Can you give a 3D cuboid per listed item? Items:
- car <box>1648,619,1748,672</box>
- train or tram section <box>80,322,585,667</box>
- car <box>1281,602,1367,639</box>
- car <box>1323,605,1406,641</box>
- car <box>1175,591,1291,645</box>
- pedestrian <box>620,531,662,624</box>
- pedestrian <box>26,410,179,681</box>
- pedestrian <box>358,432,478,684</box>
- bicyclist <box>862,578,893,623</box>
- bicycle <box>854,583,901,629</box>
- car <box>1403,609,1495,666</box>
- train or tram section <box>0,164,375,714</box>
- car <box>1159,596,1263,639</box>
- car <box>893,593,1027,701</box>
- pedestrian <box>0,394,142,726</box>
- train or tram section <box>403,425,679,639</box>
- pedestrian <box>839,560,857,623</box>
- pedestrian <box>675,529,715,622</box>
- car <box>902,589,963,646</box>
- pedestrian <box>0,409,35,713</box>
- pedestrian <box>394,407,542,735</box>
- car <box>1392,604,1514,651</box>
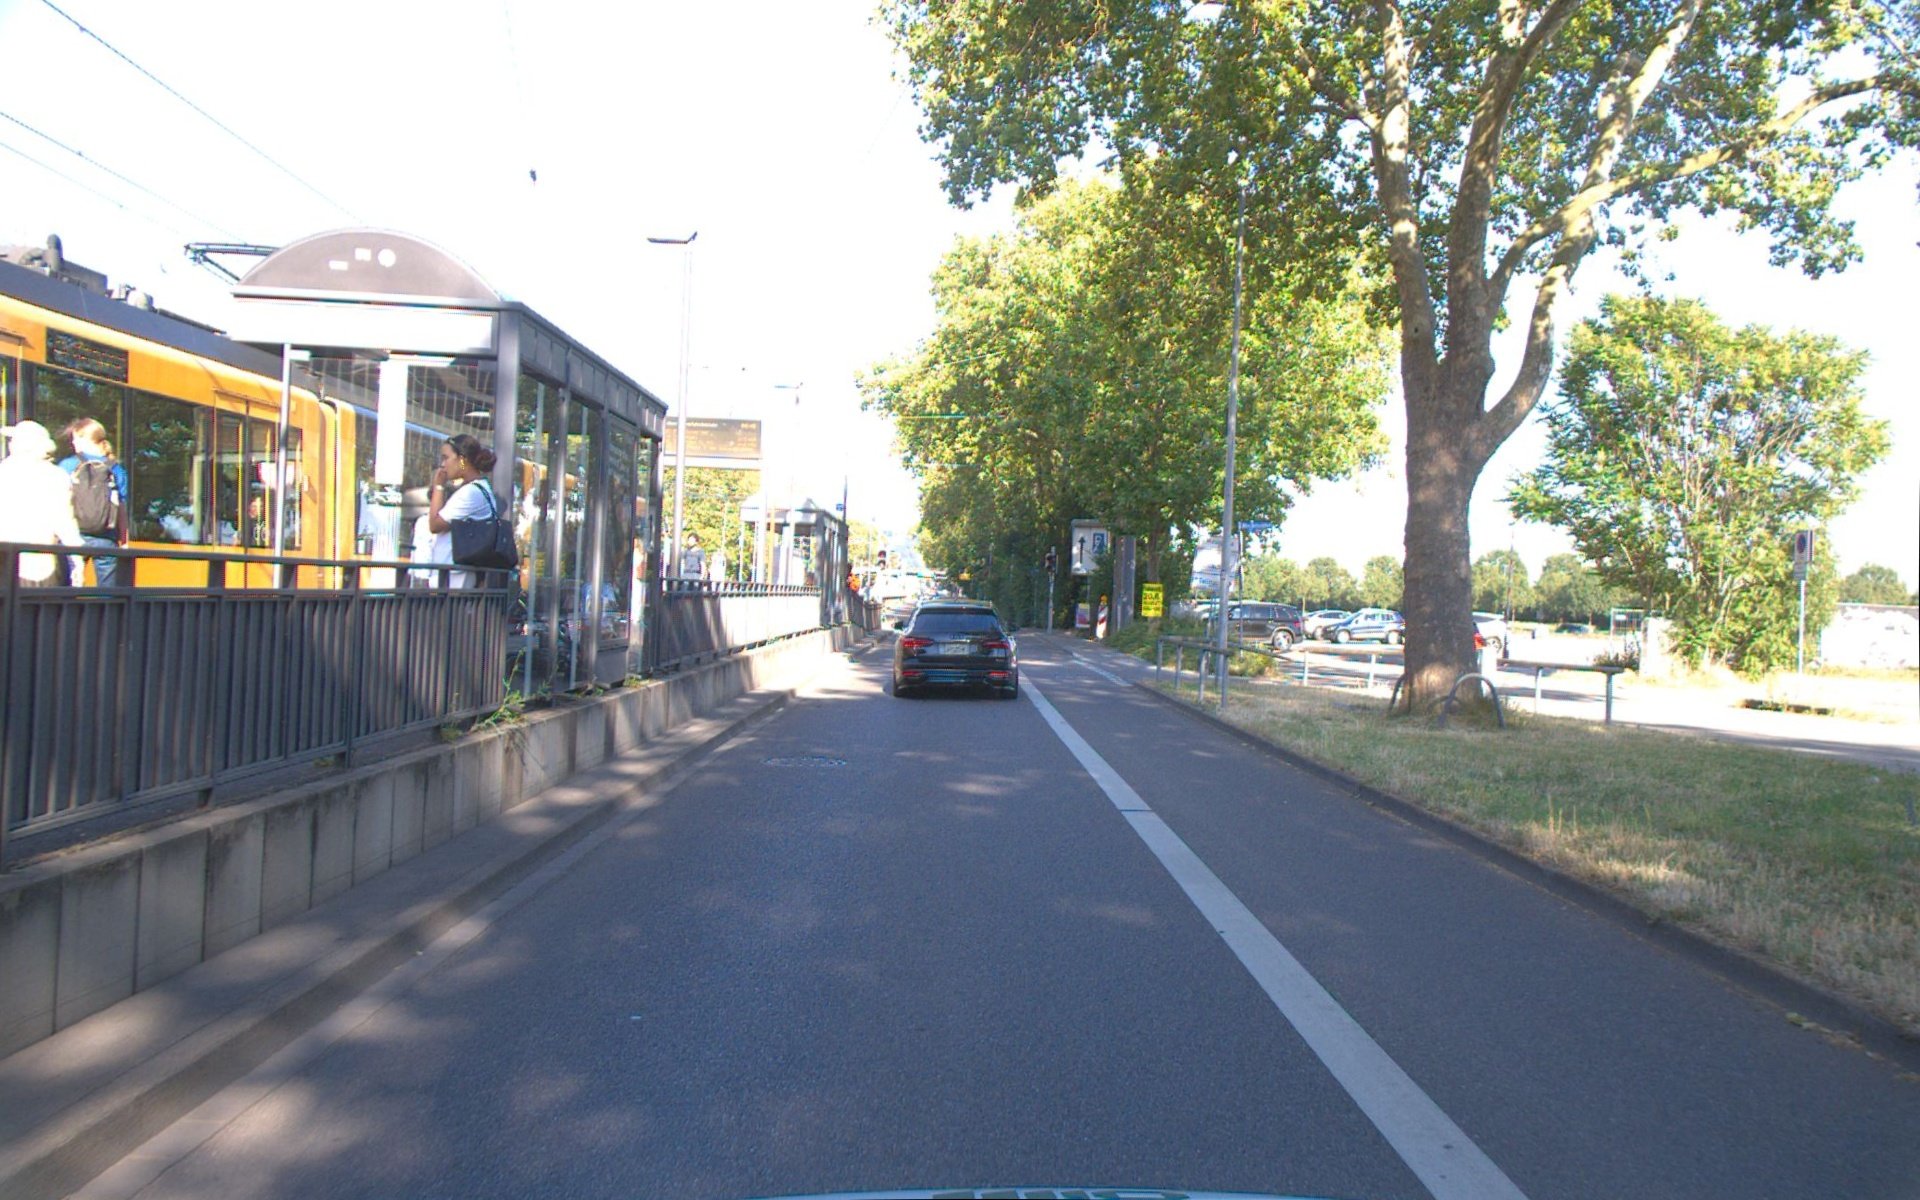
[{"bbox_3d":[25.504,1.552,57.304,1.534,1.637,3.999,3,0,-1],"label":"car"},{"bbox_3d":[-8.713,-1.259,25.357,3.242,3.896,11.841,3,0,-1],"label":"train or tram section"},{"bbox_3d":[20.234,1.120,92.016,4.267,1.847,1.998,3,0,-5],"label":"car"},{"bbox_3d":[20.494,1.163,83.804,3.735,1.637,1.670,3,0,-1],"label":"car"},{"bbox_3d":[9.995,0.644,60.789,3.906,1.795,1.833,3,0,0],"label":"car"},{"bbox_3d":[-6.194,-0.434,32.129,0.644,1.743,0.613,3,0,-2],"label":"pedestrian"},{"bbox_3d":[-6.022,-0.373,11.655,0.599,1.815,0.775,3,0,-1],"label":"pedestrian"},{"bbox_3d":[-4.061,-0.306,12.434,0.597,1.815,0.681,3,0,-1],"label":"pedestrian"},{"bbox_3d":[-3.301,0.023,65.879,0.758,1.746,0.903,3,0,44],"label":"bicyclist"},{"bbox_3d":[-3.286,0.257,65.911,0.581,1.746,1.959,2,0,44],"label":"bicycle"},{"bbox_3d":[14.663,1.098,49.765,1.581,1.542,3.802,3,0,-1],"label":"car"},{"bbox_3d":[-8.469,-1.206,12.301,3.242,3.896,14.216,3,0,-1],"label":"train or tram section"},{"bbox_3d":[9.991,0.693,65.969,3.806,1.531,1.888,3,0,0],"label":"car"},{"bbox_3d":[-0.065,0.661,25.085,1.841,1.482,3.355,1,1,-3],"label":"car"},{"bbox_3d":[-5.247,-0.217,9.493,0.788,1.815,0.639,3,0,-41],"label":"pedestrian"},{"bbox_3d":[-8.927,-1.314,37.214,3.242,3.896,11.841,3,0,-1],"label":"train or tram section"},{"bbox_3d":[-3.160,-0.246,46.801,0.403,1.746,0.665,3,0,-1],"label":"pedestrian"},{"bbox_3d":[-5.137,-0.472,32.089,0.599,1.743,0.659,3,0,-3],"label":"pedestrian"},{"bbox_3d":[-0.893,0.508,51.740,1.727,1.647,3.998,3,0,-3],"label":"car"},{"bbox_3d":[-6.123,-0.244,9.864,0.777,1.815,0.625,3,0,-1],"label":"pedestrian"},{"bbox_3d":[-2.841,-0.162,9.596,0.599,1.815,0.613,3,0,-1],"label":"pedestrian"},{"bbox_3d":[19.898,1.094,66.882,4.365,1.687,1.918,3,0,3],"label":"car"}]
